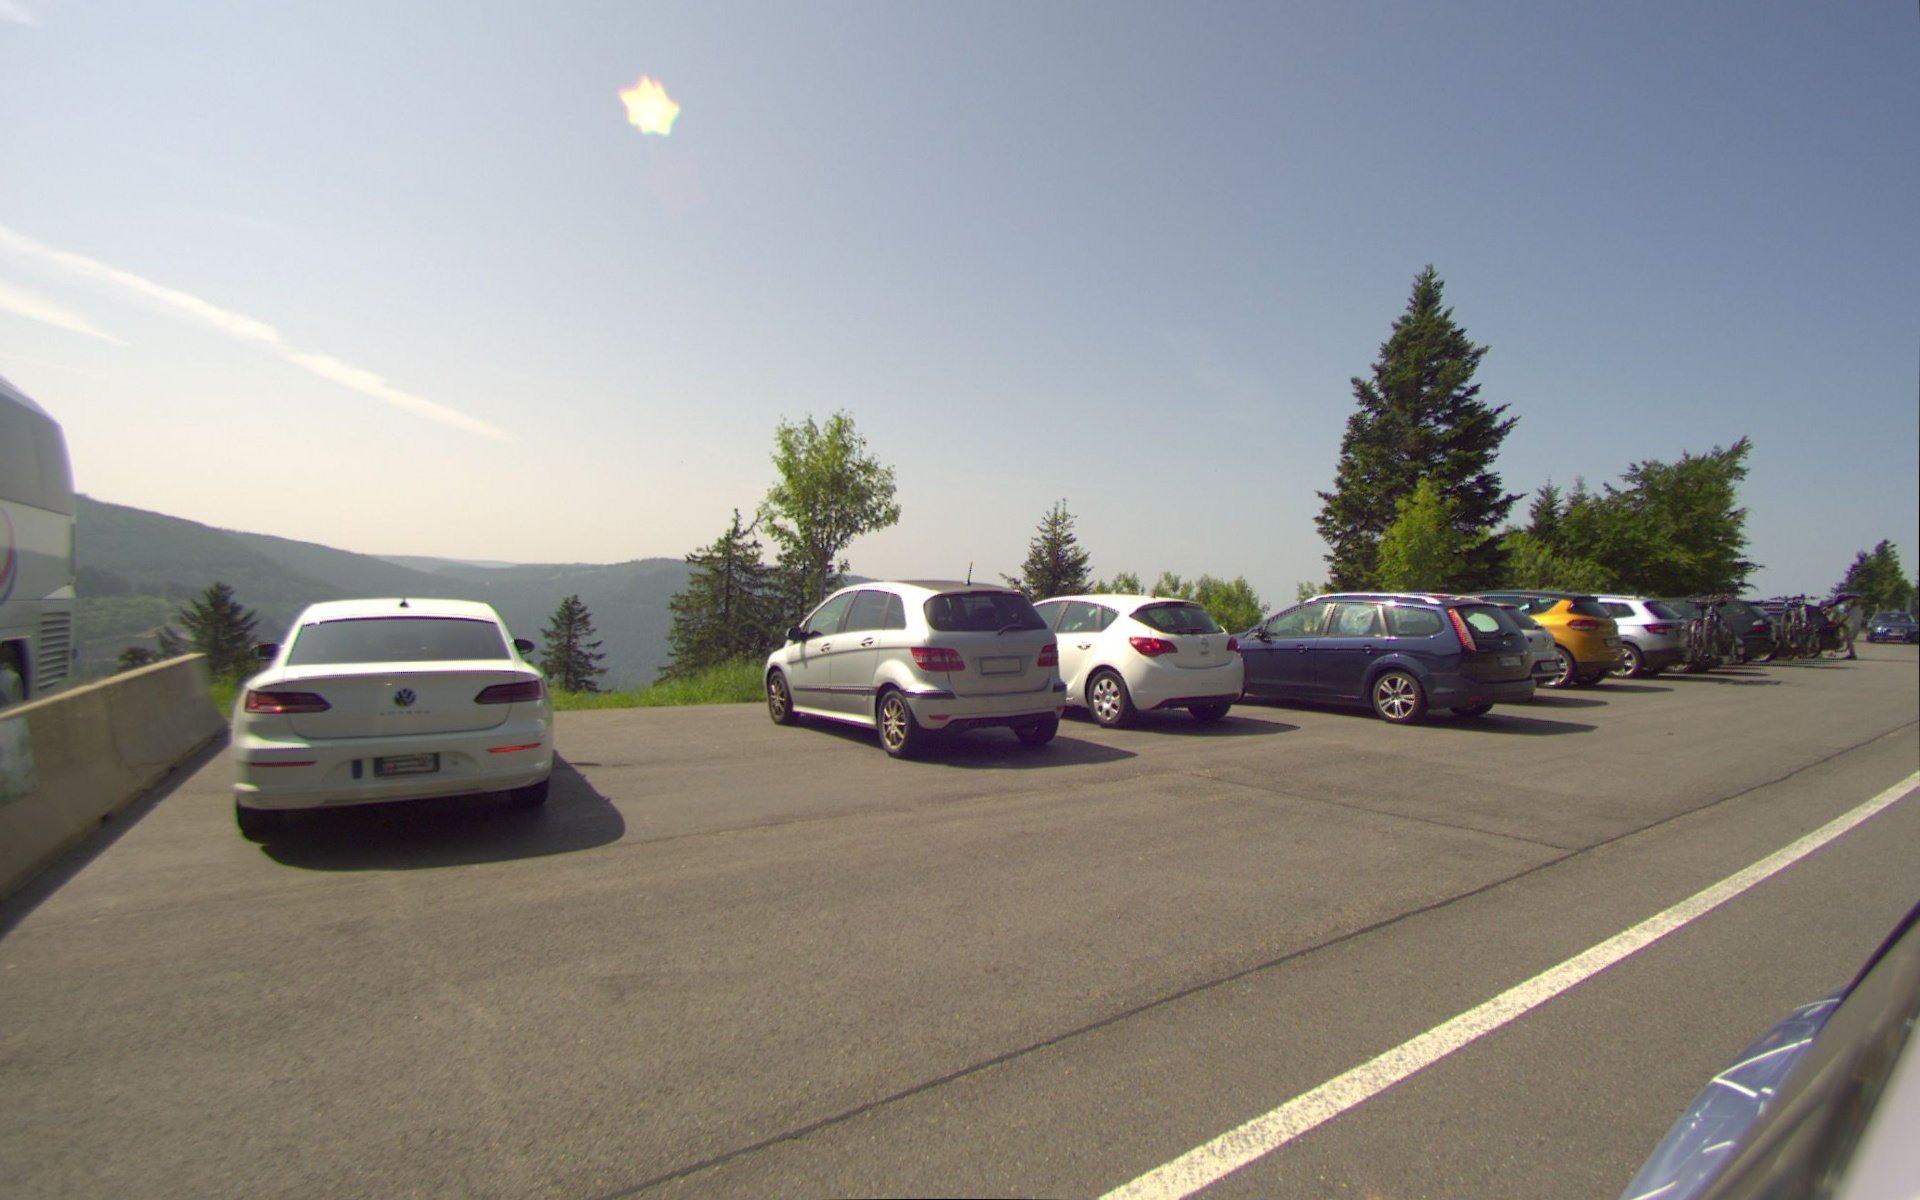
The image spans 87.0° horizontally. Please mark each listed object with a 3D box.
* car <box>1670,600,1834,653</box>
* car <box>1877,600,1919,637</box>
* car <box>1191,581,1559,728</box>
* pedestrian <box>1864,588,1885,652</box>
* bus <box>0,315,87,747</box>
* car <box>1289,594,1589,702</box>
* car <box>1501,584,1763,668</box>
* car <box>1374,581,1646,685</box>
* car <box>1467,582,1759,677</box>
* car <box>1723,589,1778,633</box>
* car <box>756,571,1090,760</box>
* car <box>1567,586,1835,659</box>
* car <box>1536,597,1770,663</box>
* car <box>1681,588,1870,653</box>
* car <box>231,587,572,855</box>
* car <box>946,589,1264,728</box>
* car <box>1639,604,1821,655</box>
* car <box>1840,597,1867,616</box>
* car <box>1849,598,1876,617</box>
[{"bbox_3d":[22.967,0.722,29.406,3.671,1.368,1.712,1,0,42],"label":"car"},{"bbox_3d":[42.811,0.805,45.710,1.992,1.566,3.940,1,1,42],"label":"car"},{"bbox_3d":[5.104,0.569,12.976,1.640,1.563,4.143,1,0,-35],"label":"car"},{"bbox_3d":[27.141,0.586,30.034,0.540,1.845,0.367,1,1,-44],"label":"pedestrian"},{"bbox_3d":[-7.515,-0.505,4.839,2.782,3.622,12.901,0,1,-31],"label":"bus"},{"bbox_3d":[7.249,0.672,15.644,1.585,1.438,3.891,-1,0,-39],"label":"car"},{"bbox_3d":[14.413,0.553,21.928,1.722,1.639,4.424,1,-2,-41],"label":"car"},{"bbox_3d":[9.629,0.569,17.957,1.679,1.636,3.884,1,-2,-40],"label":"car"},{"bbox_3d":[12.742,0.535,19.972,1.979,1.647,4.481,1,-1,-42],"label":"car"},{"bbox_3d":[35.686,0.464,45.667,1.859,1.864,3.828,1,1,39],"label":"car"},{"bbox_3d":[-0.589,0.546,10.681,1.732,1.594,4.001,0,0,-33],"label":"car"},{"bbox_3d":[18.519,0.605,25.522,1.965,1.641,5.107,1,-2,-41],"label":"car"},{"bbox_3d":[16.476,0.702,24.251,1.659,1.450,4.322,1,-2,-39],"label":"car"},{"bbox_3d":[25.099,0.577,31.269,1.966,1.845,4.319,1,0,-42],"label":"car"},{"bbox_3d":[-4.147,0.632,7.696,1.683,1.414,4.444,0,0,-28],"label":"car"},{"bbox_3d":[1.616,0.611,12.602,1.732,1.438,4.001,0,0,-33],"label":"car"},{"bbox_3d":[20.708,0.774,27.307,1.537,1.285,3.703,2,-2,-42],"label":"car"},{"bbox_3d":[99.322,0.759,112.493,1.943,2.006,4.015,2,1,38],"label":"car"},{"bbox_3d":[96.534,0.780,108.255,1.991,2.039,3.943,1,1,39],"label":"car"}]
